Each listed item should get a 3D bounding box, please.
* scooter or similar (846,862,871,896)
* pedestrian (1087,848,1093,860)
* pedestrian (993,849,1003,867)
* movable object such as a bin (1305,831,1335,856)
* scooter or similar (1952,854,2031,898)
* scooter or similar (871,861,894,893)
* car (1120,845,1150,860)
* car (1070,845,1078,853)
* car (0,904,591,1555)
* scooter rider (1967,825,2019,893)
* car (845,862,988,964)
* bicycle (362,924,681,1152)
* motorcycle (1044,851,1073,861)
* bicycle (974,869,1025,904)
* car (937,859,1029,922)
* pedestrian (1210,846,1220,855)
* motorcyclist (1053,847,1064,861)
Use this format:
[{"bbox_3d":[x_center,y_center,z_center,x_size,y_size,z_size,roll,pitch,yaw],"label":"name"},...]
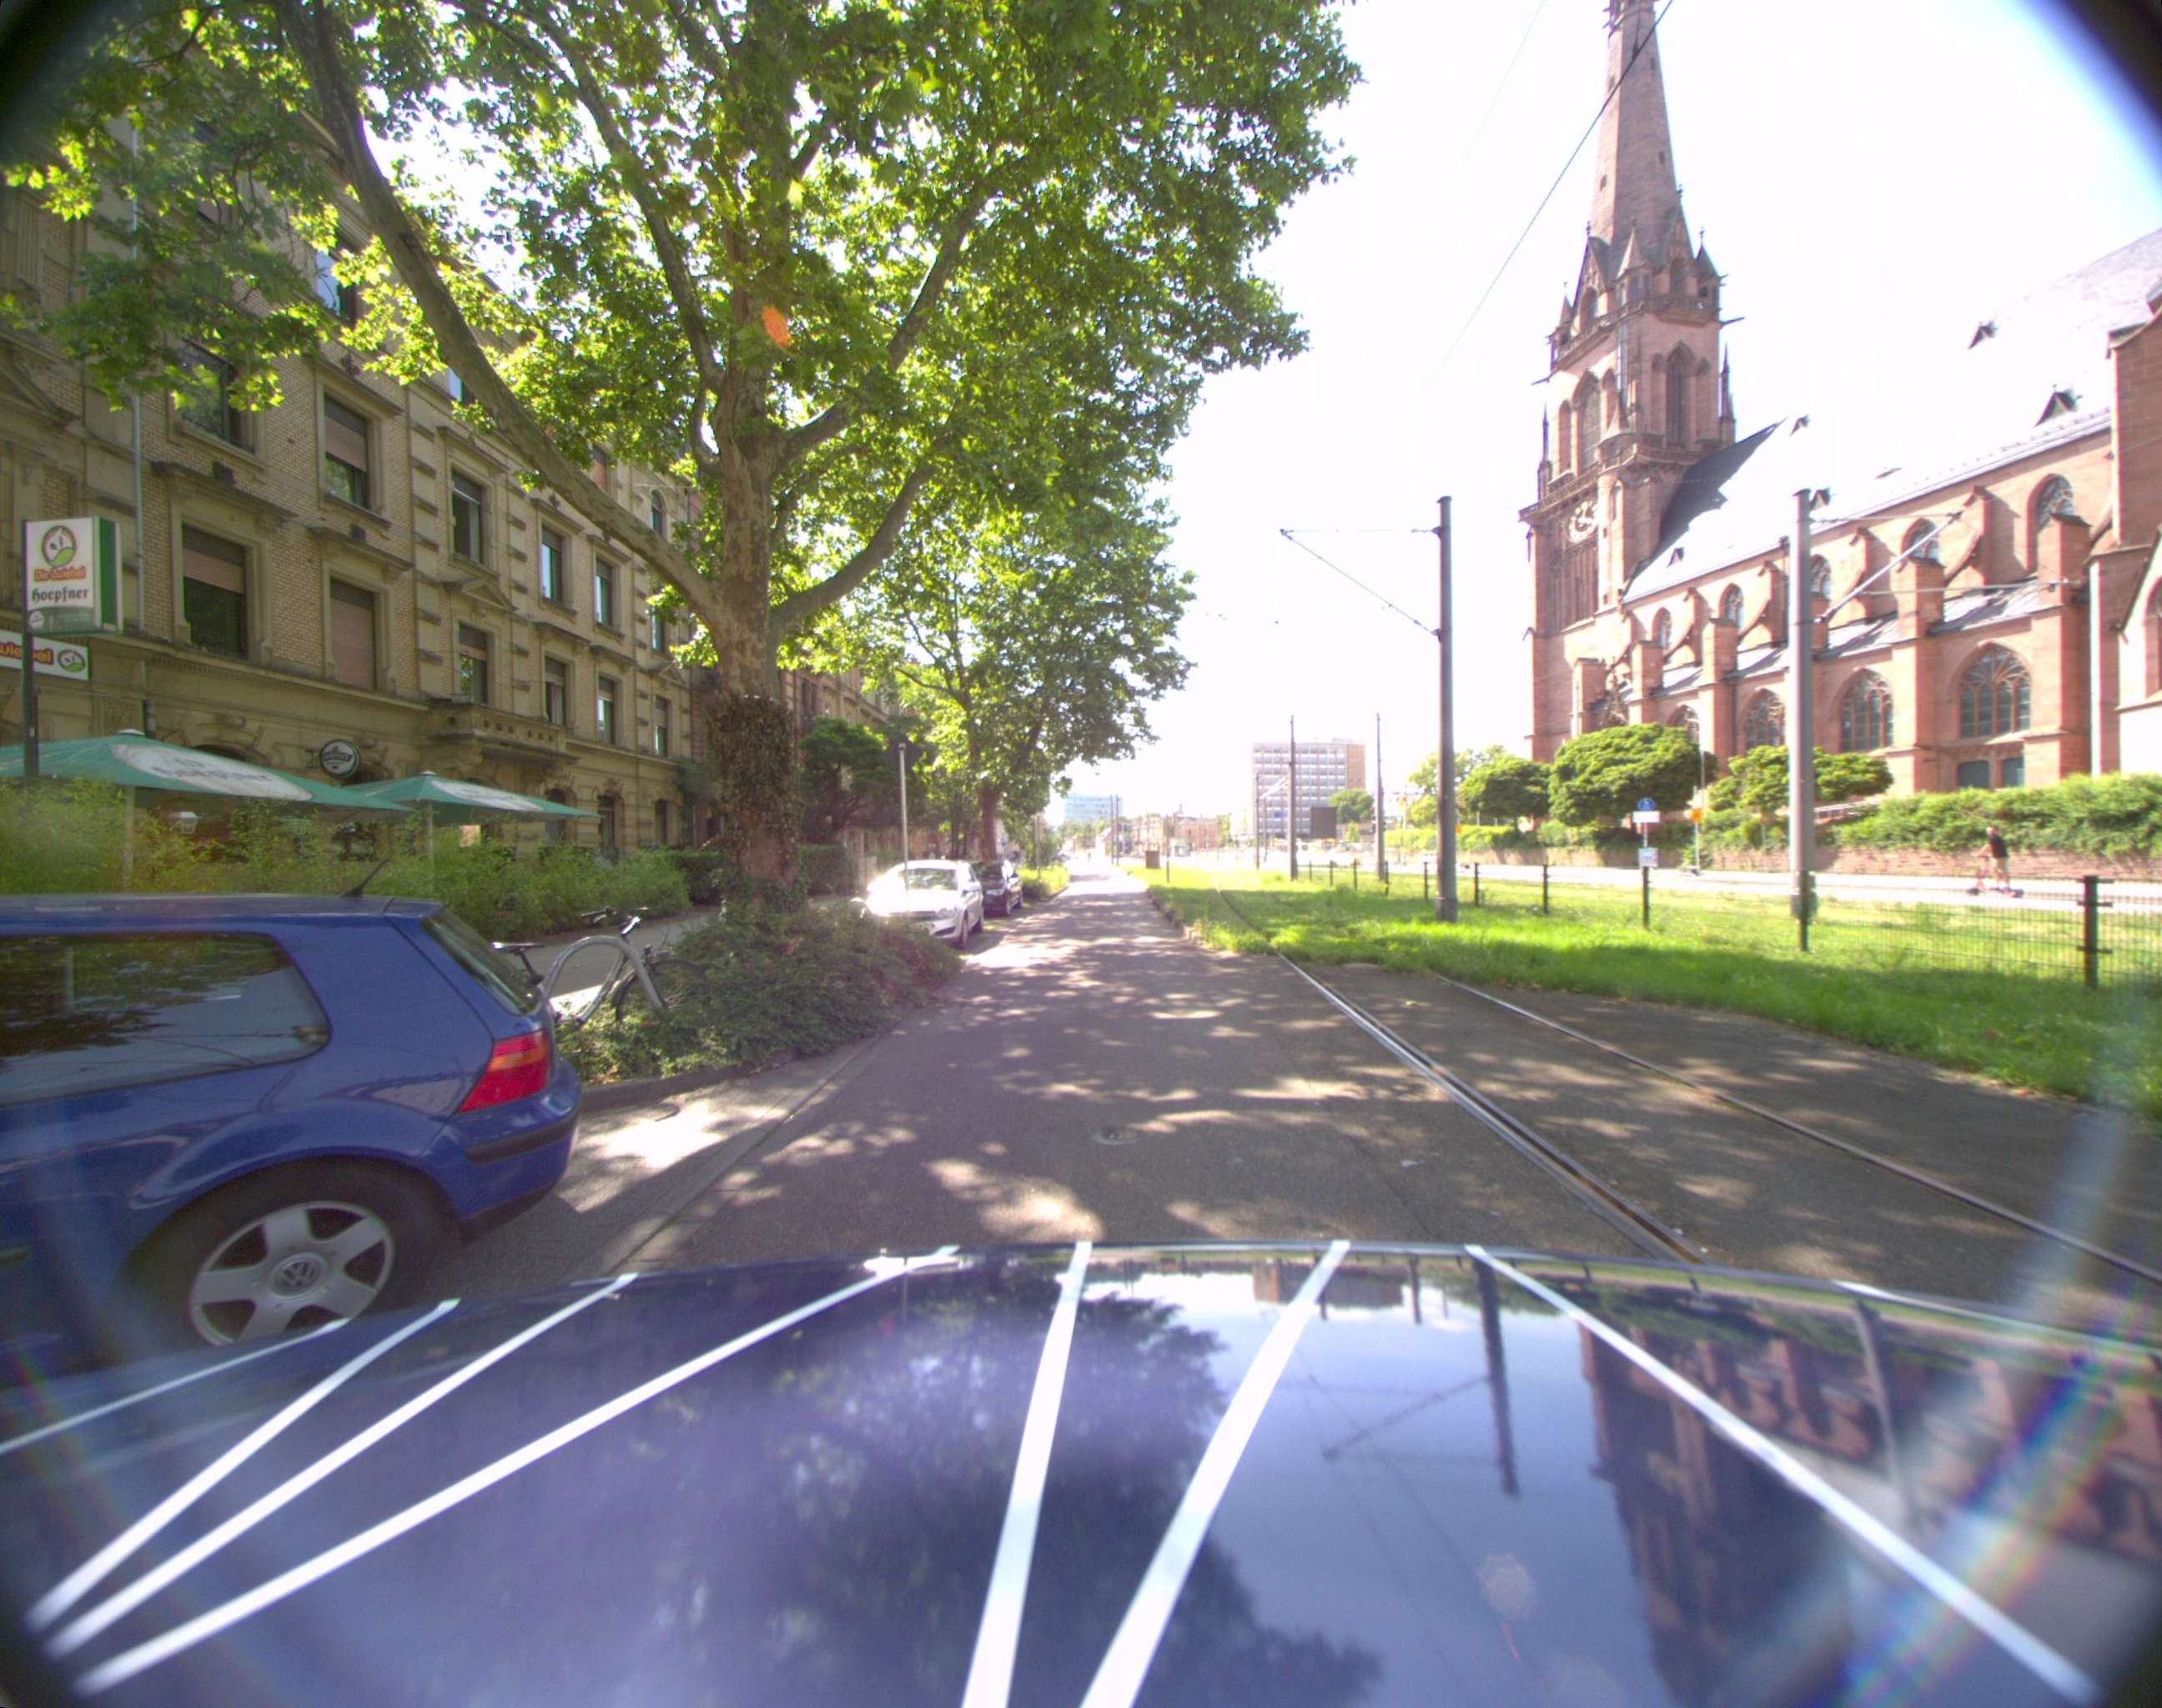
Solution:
[{"bbox_3d":[-8.449,0.944,28.911,0.583,1.240,1.145,-1,1,1],"label":"scooter or similar"},{"bbox_3d":[1.227,-0.019,104.693,0.850,1.644,1.128,-1,1,1],"label":"pedestrian"},{"bbox_3d":[-7.845,0.357,72.147,0.797,1.708,0.967,-1,1,0],"label":"pedestrian"},{"bbox_3d":[37.701,-1.589,119.864,3.340,3.859,2.932,-1,1,-33],"label":"movable object such as a bin"},{"bbox_3d":[25.301,0.602,21.133,1.268,1.197,0.658,-1,1,16],"label":"scooter or similar"},{"bbox_3d":[-8.250,0.938,31.632,0.583,1.275,1.145,-1,1,3],"label":"scooter or similar"},{"bbox_3d":[7.361,-0.204,103.479,3.996,2.002,2.000,-1,1,3],"label":"car"},{"bbox_3d":[-1.893,-1.314,202.609,1.998,2.002,4.000,-1,0,1],"label":"car"},{"bbox_3d":[-3.849,0.989,1.942,4.101,1.401,1.883,-1,1,-41],"label":"car"},{"bbox_3d":[25.316,0.128,21.108,0.667,1.856,0.665,-1,1,16],"label":"scooter rider"},{"bbox_3d":[-2.845,0.946,14.143,1.838,1.499,4.490,-1,0,-3],"label":"car"},{"bbox_3d":[-3.565,1.096,5.002,0.421,1.099,1.619,0,1,33],"label":"bicycle"},{"bbox_3d":[-3.230,0.244,107.130,3.927,1.331,1.247,-1,1,27],"label":"motorcycle"},{"bbox_3d":[-2.699,1.051,25.226,1.641,1.082,0.470,-1,1,-32],"label":"bicycle"},{"bbox_3d":[-2.605,0.919,21.220,1.838,1.499,4.643,-1,0,1],"label":"car"},{"bbox_3d":[25.343,-0.634,143.548,1.426,1.796,1.422,-1,1,-3],"label":"pedestrian"},{"bbox_3d":[-3.158,0.017,107.112,1.105,1.919,1.335,-1,1,27],"label":"motorcyclist"}]
